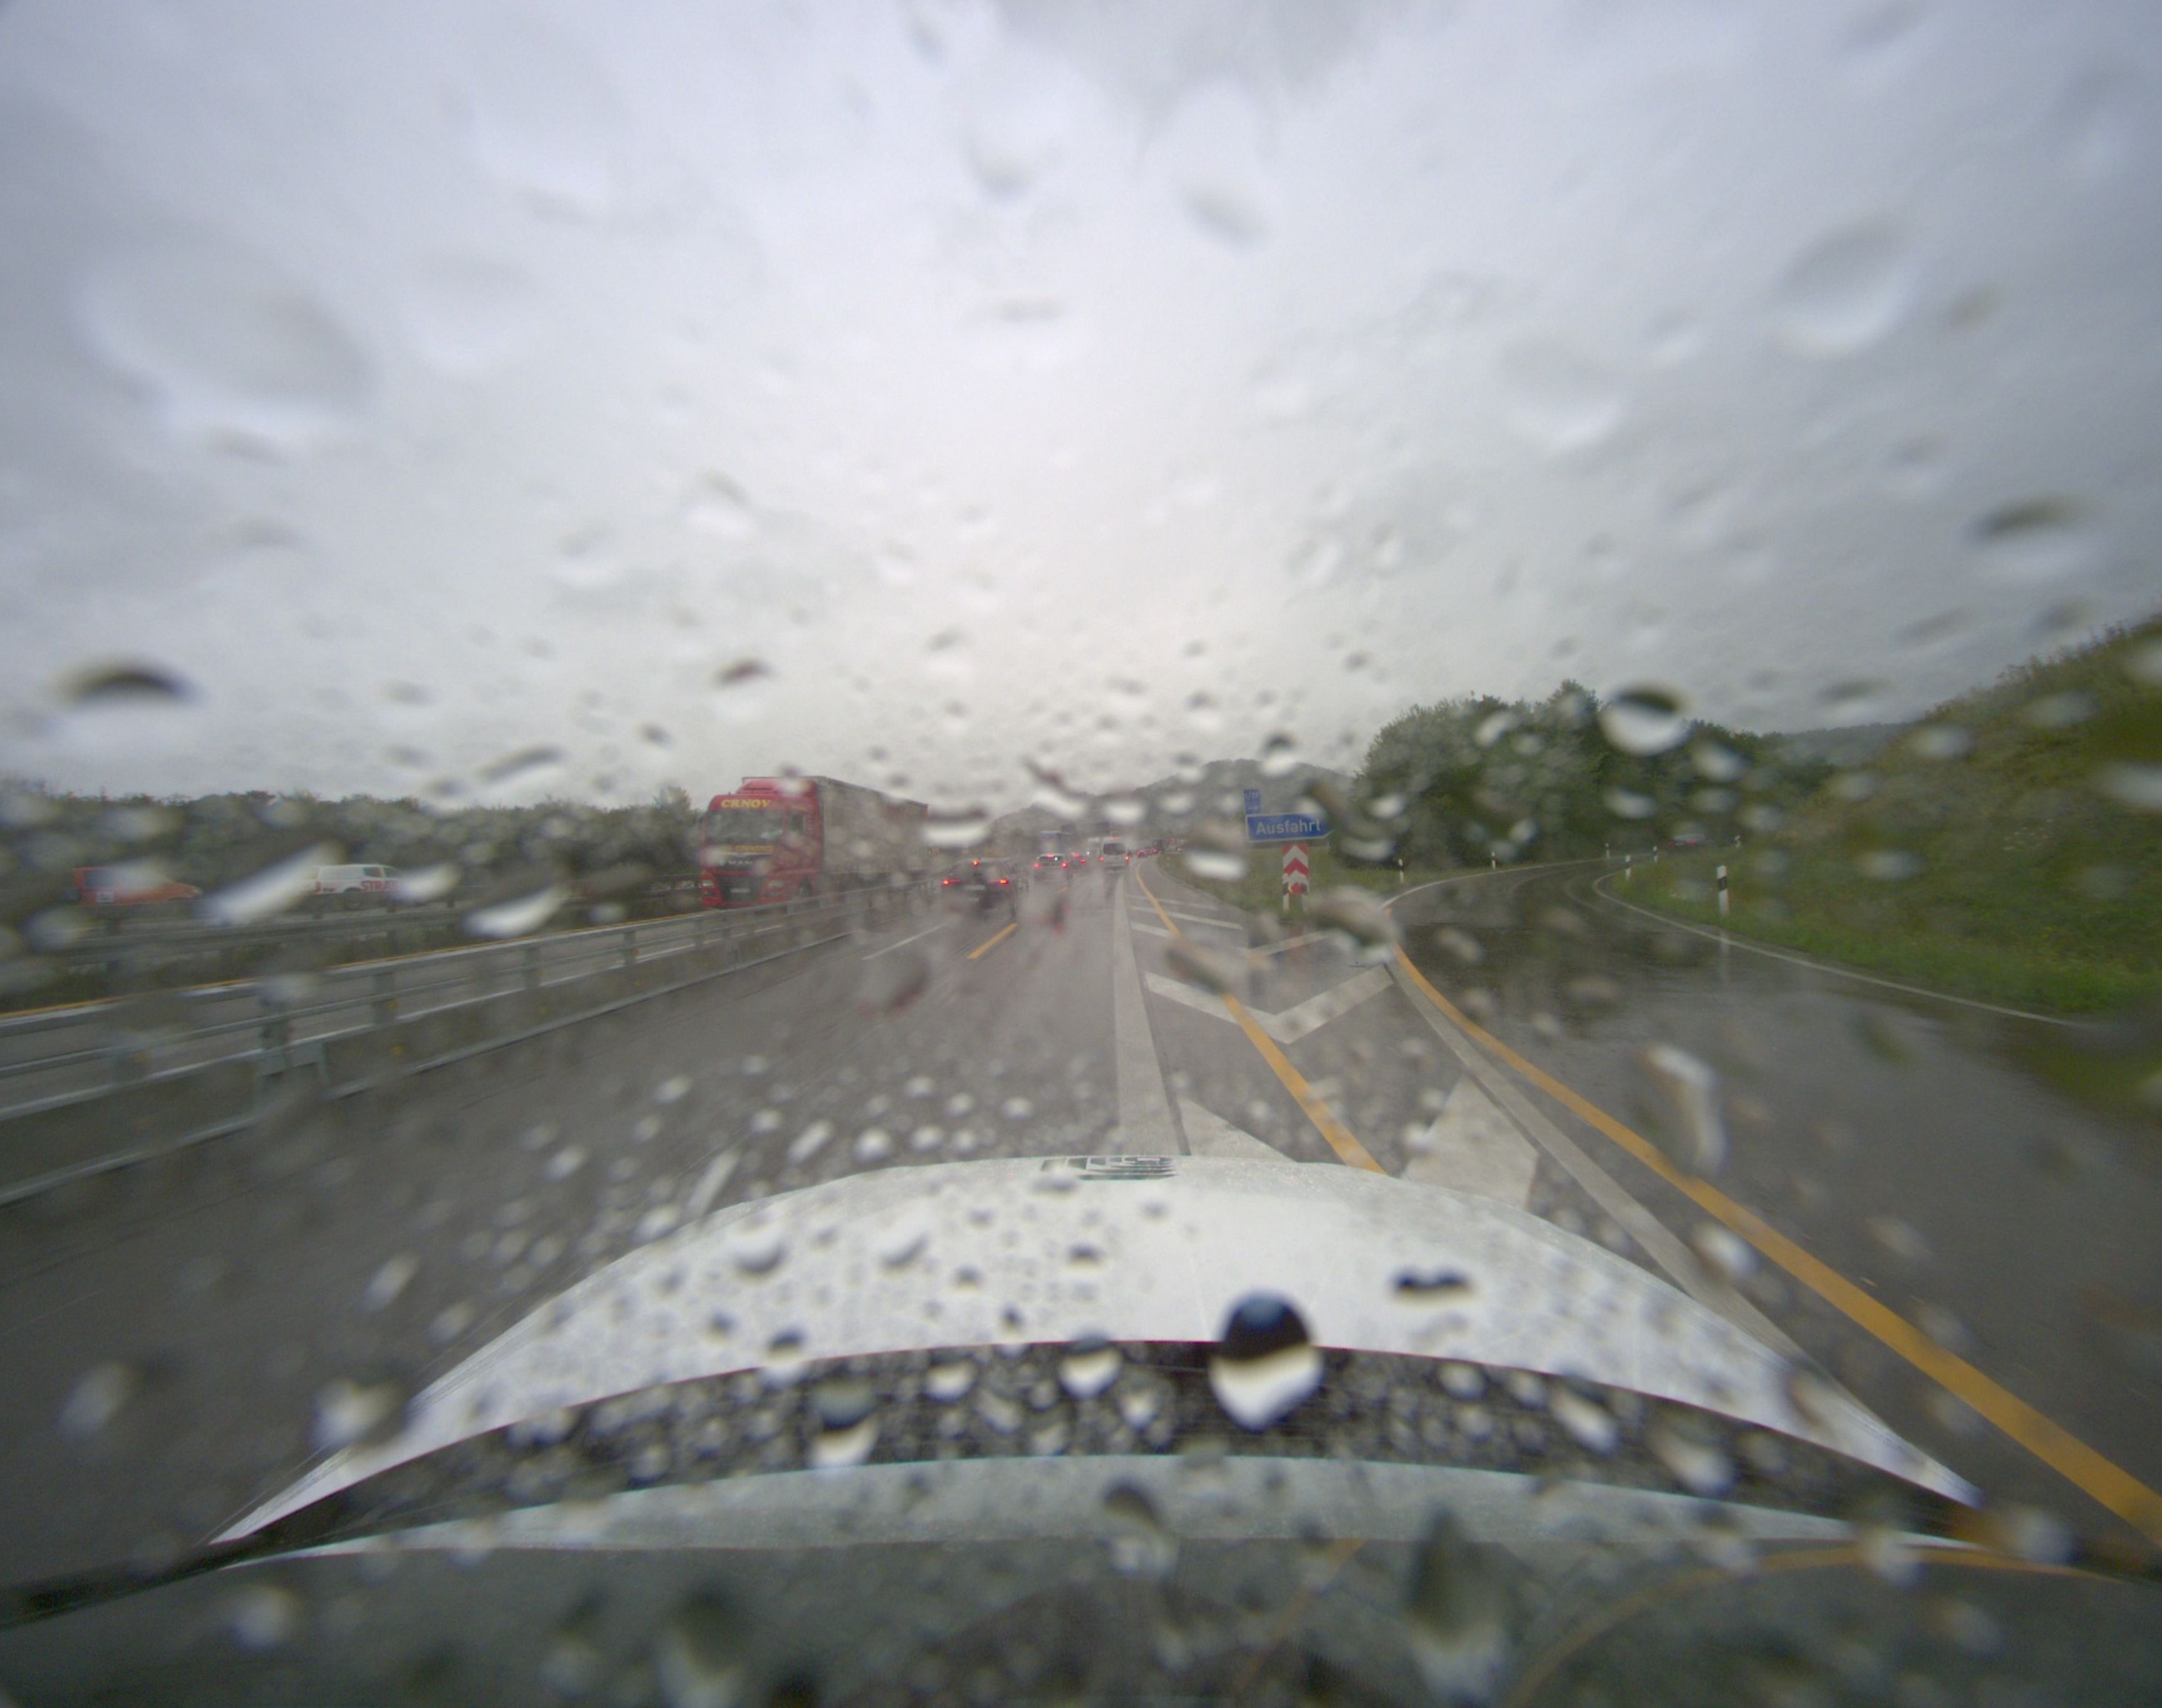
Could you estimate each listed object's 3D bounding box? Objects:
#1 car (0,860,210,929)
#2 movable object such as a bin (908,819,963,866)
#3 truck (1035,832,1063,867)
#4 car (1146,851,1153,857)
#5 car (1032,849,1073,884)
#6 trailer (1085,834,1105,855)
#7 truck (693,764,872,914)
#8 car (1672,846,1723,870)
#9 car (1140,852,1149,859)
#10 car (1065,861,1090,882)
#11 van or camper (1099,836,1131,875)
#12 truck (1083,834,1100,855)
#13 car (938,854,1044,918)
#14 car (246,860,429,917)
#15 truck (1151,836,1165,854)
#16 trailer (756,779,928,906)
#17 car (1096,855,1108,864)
[{"bbox_3d":[-34.351,1.325,27.940,2.342,2.076,5.609,-1,0,23],"label":"car"},{"bbox_3d":[-19.244,-1.461,108.540,4.149,5.915,11.065,0,0,6],"label":"movable object such as a bin"},{"bbox_3d":[-3.938,-0.588,100.978,2.612,4.081,6.677,-1,0,4],"label":"truck"},{"bbox_3d":[14.615,-0.041,173.291,1.378,1.256,3.126,-1,0,4],"label":"car"},{"bbox_3d":[-1.427,0.605,42.192,1.860,1.659,3.989,-1,0,1],"label":"car"},{"bbox_3d":[2.967,-2.040,167.113,2.480,4.049,12.617,-2,1,8],"label":"trailer"},{"bbox_3d":[-9.020,-0.382,25.670,2.632,4.048,7.290,0,0,3],"label":"truck"},{"bbox_3d":[40.894,0.253,54.032,3.649,1.508,1.688,0,0,-35],"label":"car"},{"bbox_3d":[11.433,0.248,146.610,1.379,1.078,3.123,-1,0,1],"label":"car"},{"bbox_3d":[-0.288,1.390,65.446,1.845,1.500,4.001,-1,0,1],"label":"car"},{"bbox_3d":[2.424,0.108,59.153,2.131,2.721,4.649,-1,0,1],"label":"van or camper"},{"bbox_3d":[2.009,-1.863,160.402,2.469,4.030,6.463,-1,1,8],"label":"truck"},{"bbox_3d":[-2.175,0.745,21.122,1.930,1.427,4.764,-1,0,3],"label":"car"},{"bbox_3d":[-29.111,1.279,32.216,2.085,1.966,5.368,-1,0,3],"label":"car"},{"bbox_3d":[20.634,-2.363,217.735,3.302,4.785,9.928,0,0,8],"label":"truck"},{"bbox_3d":[-8.688,-0.357,31.709,2.602,4.007,11.936,0,0,3],"label":"trailer"},{"bbox_3d":[2.539,0.644,98.073,1.257,1.078,3.256,-1,0,2],"label":"car"}]
